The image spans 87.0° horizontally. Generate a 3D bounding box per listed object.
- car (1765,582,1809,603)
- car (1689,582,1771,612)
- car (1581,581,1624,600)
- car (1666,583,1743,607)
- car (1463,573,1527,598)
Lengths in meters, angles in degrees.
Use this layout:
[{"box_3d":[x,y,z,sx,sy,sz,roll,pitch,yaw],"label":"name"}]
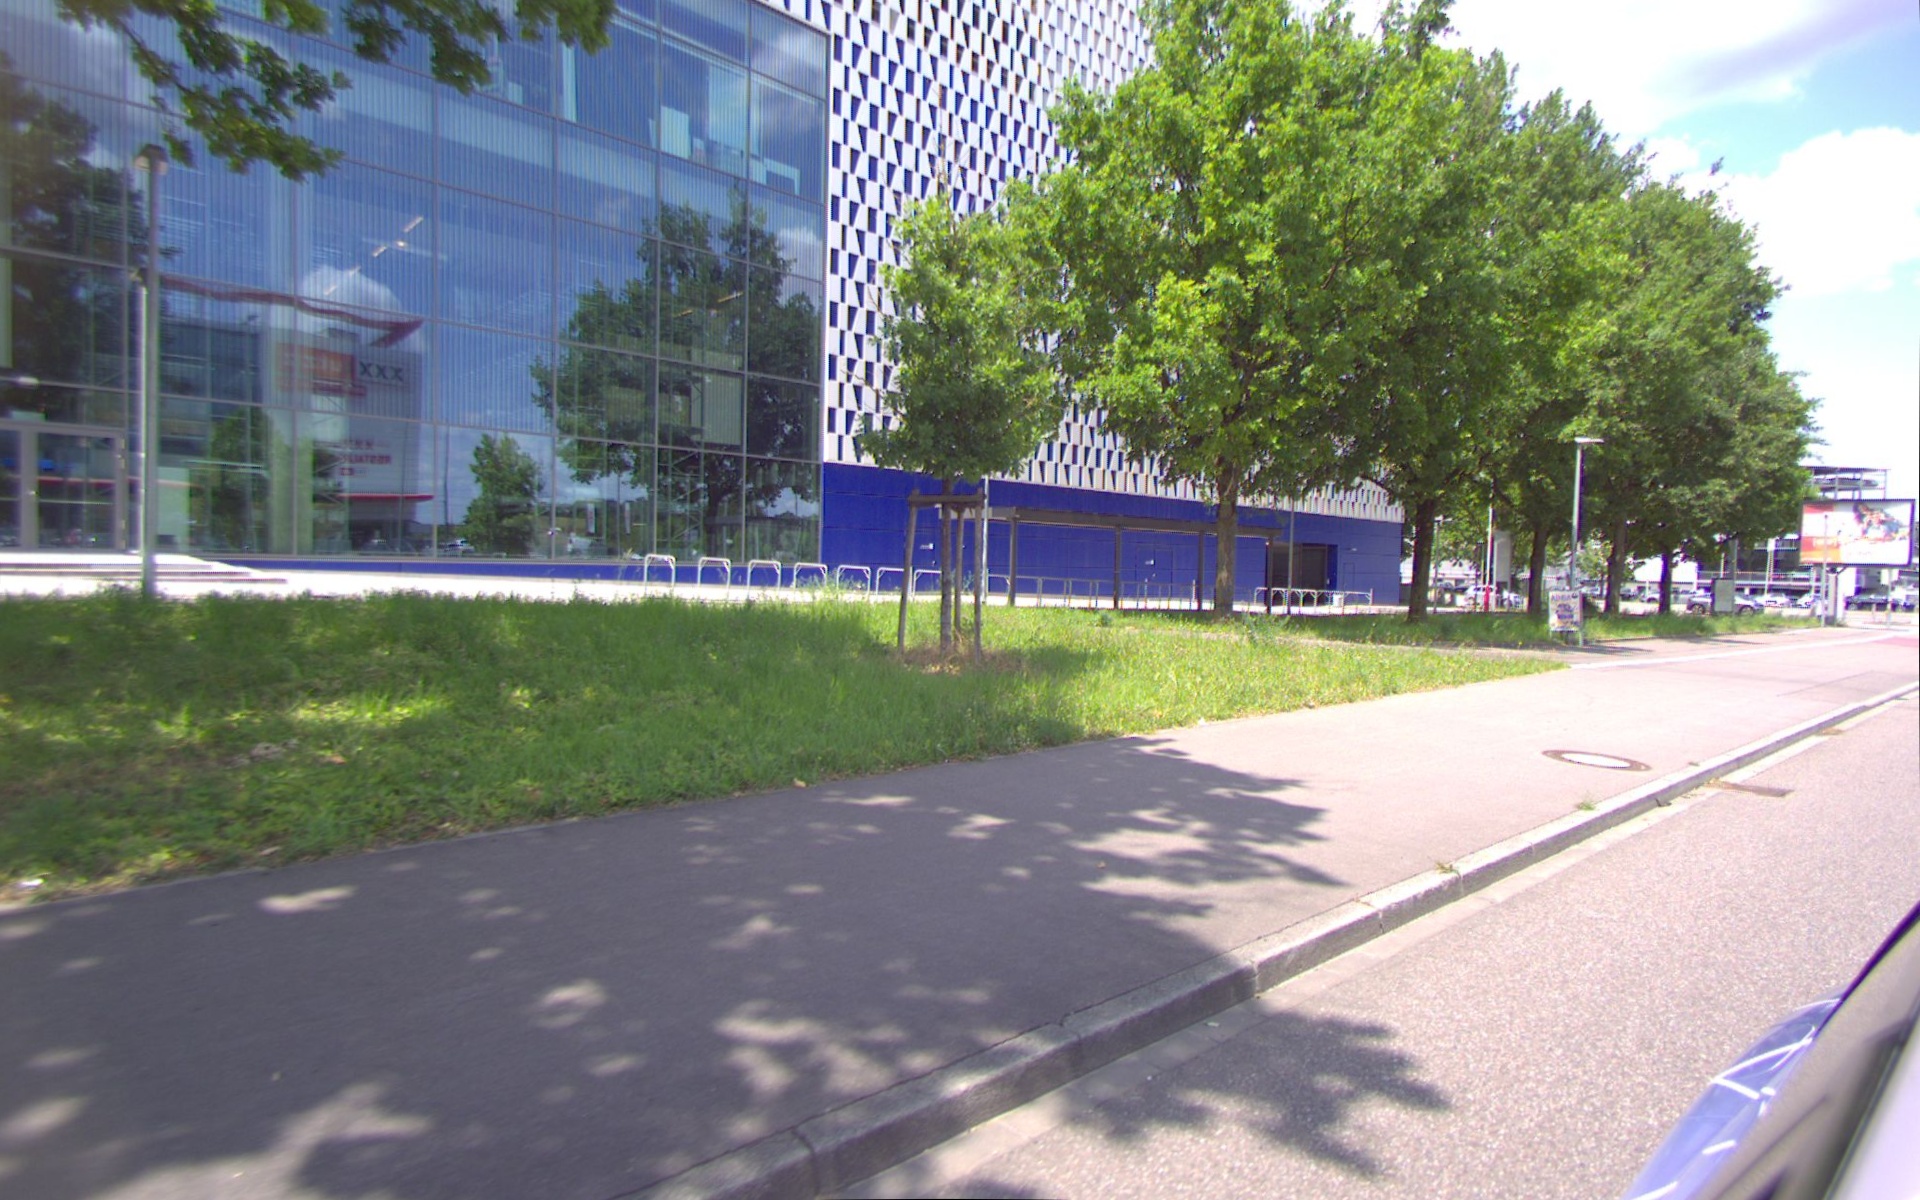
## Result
[{"box_3d":[69.206,-0.594,84.661,3.924,1.593,1.843,1,2,-35],"label":"car"},{"box_3d":[50.436,-0.198,66.338,1.828,1.712,3.990,0,3,-45],"label":"car"},{"box_3d":[59.898,-0.898,94.335,3.920,1.571,1.800,1,2,-31],"label":"car"},{"box_3d":[59.287,-0.439,80.624,4.685,1.651,1.969,4,3,43],"label":"car"},{"box_3d":[41.041,-1.102,77.689,1.828,1.712,3.990,0,3,-45],"label":"car"}]
